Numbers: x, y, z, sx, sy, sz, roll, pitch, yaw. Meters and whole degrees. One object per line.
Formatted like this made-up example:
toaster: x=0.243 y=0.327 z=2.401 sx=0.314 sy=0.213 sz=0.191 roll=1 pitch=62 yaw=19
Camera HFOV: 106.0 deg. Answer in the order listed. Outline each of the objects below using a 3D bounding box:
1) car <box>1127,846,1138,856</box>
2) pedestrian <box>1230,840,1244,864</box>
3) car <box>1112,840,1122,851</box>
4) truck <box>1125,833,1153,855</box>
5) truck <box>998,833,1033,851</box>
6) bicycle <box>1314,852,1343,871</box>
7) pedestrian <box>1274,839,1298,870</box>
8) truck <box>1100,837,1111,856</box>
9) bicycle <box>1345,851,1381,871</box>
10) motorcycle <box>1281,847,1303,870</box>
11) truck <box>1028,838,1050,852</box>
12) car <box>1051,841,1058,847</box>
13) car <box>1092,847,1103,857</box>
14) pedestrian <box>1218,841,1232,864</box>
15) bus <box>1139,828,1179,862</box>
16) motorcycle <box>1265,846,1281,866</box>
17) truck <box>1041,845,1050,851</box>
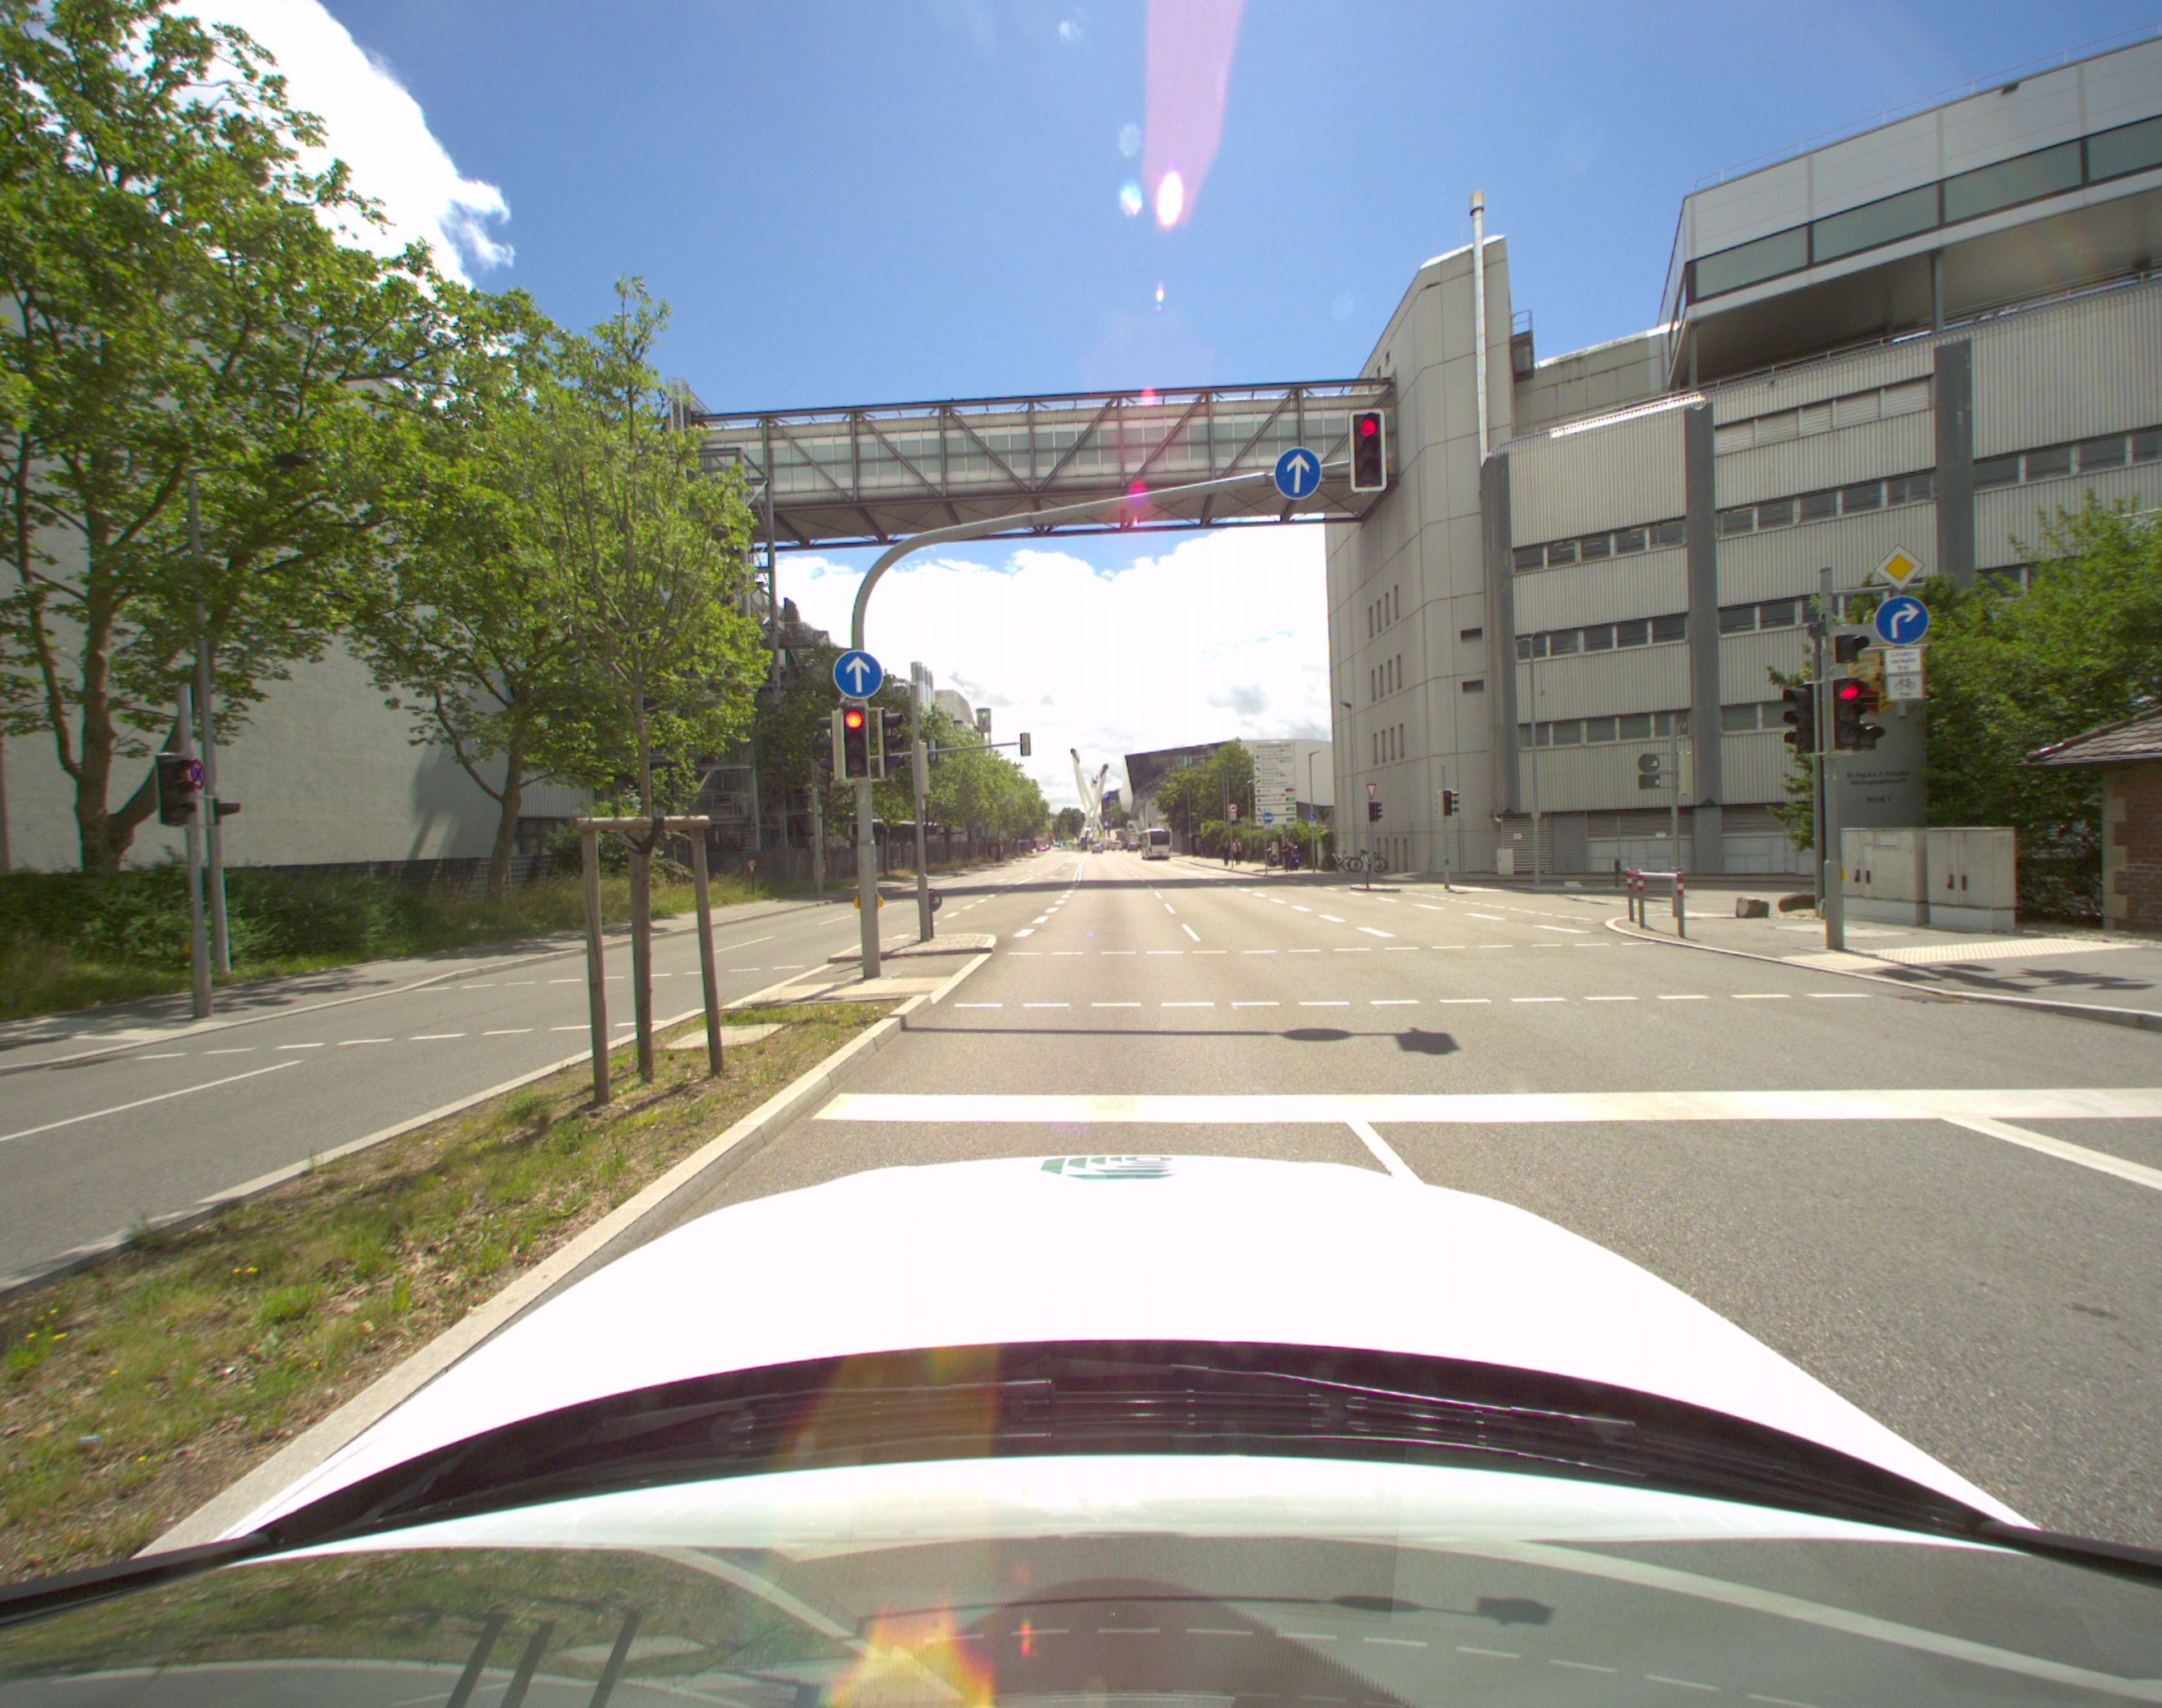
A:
car: x=9.231 y=-0.587 z=146.189 sx=1.732 sy=1.741 sz=3.693 roll=-1 pitch=0 yaw=2
pedestrian: x=11.400 y=-0.136 z=59.540 sx=0.817 sy=1.741 sz=0.637 roll=-1 pitch=0 yaw=1
car: x=7.230 y=-1.719 z=165.453 sx=1.985 sy=2.014 sz=4.002 roll=0 pitch=-1 yaw=2
truck: x=12.373 y=-2.068 z=171.944 sx=3.424 sy=4.391 sz=9.466 roll=-1 pitch=0 yaw=19
truck: x=-17.085 y=-2.997 z=213.272 sx=3.531 sy=4.324 sz=12.235 roll=-1 pitch=-1 yaw=24
bicycle: x=12.542 y=0.383 z=41.308 sx=0.398 sy=0.937 sz=1.917 roll=-1 pitch=0 yaw=-17
pedestrian: x=11.036 y=0.039 z=43.827 sx=0.839 sy=1.624 sz=0.962 roll=-1 pitch=0 yaw=43
truck: x=5.222 y=-1.644 z=172.747 sx=2.383 sy=3.897 sz=6.180 roll=-1 pitch=0 yaw=2
bicycle: x=13.486 y=0.343 z=38.997 sx=0.399 sy=0.937 sz=1.913 roll=-1 pitch=0 yaw=-24
motorcycle: x=11.707 y=0.249 z=45.253 sx=0.704 sy=1.203 sz=2.025 roll=-3 pitch=1 yaw=2
truck: x=-12.215 y=-2.510 z=235.922 sx=2.453 sy=3.894 sz=7.125 roll=-1 pitch=-1 yaw=35
car: x=-7.797 y=-2.950 z=241.571 sx=1.812 sy=1.537 sz=3.680 roll=-3 pitch=0 yaw=2
car: x=2.775 y=-0.315 z=138.121 sx=1.732 sy=1.741 sz=3.693 roll=-1 pitch=0 yaw=2
pedestrian: x=10.512 y=-0.106 z=59.500 sx=0.817 sy=1.707 sz=0.881 roll=-1 pitch=0 yaw=1
bus: x=8.650 y=-0.998 z=91.568 sx=3.441 sy=3.543 sz=10.606 roll=-1 pitch=0 yaw=1
motorcycle: x=12.524 y=0.110 z=53.099 sx=0.572 sy=1.203 sz=2.025 roll=-3 pitch=1 yaw=2
truck: x=-8.606 y=-1.409 z=196.355 sx=1.583 sy=1.537 sz=3.665 roll=-1 pitch=0 yaw=-11
